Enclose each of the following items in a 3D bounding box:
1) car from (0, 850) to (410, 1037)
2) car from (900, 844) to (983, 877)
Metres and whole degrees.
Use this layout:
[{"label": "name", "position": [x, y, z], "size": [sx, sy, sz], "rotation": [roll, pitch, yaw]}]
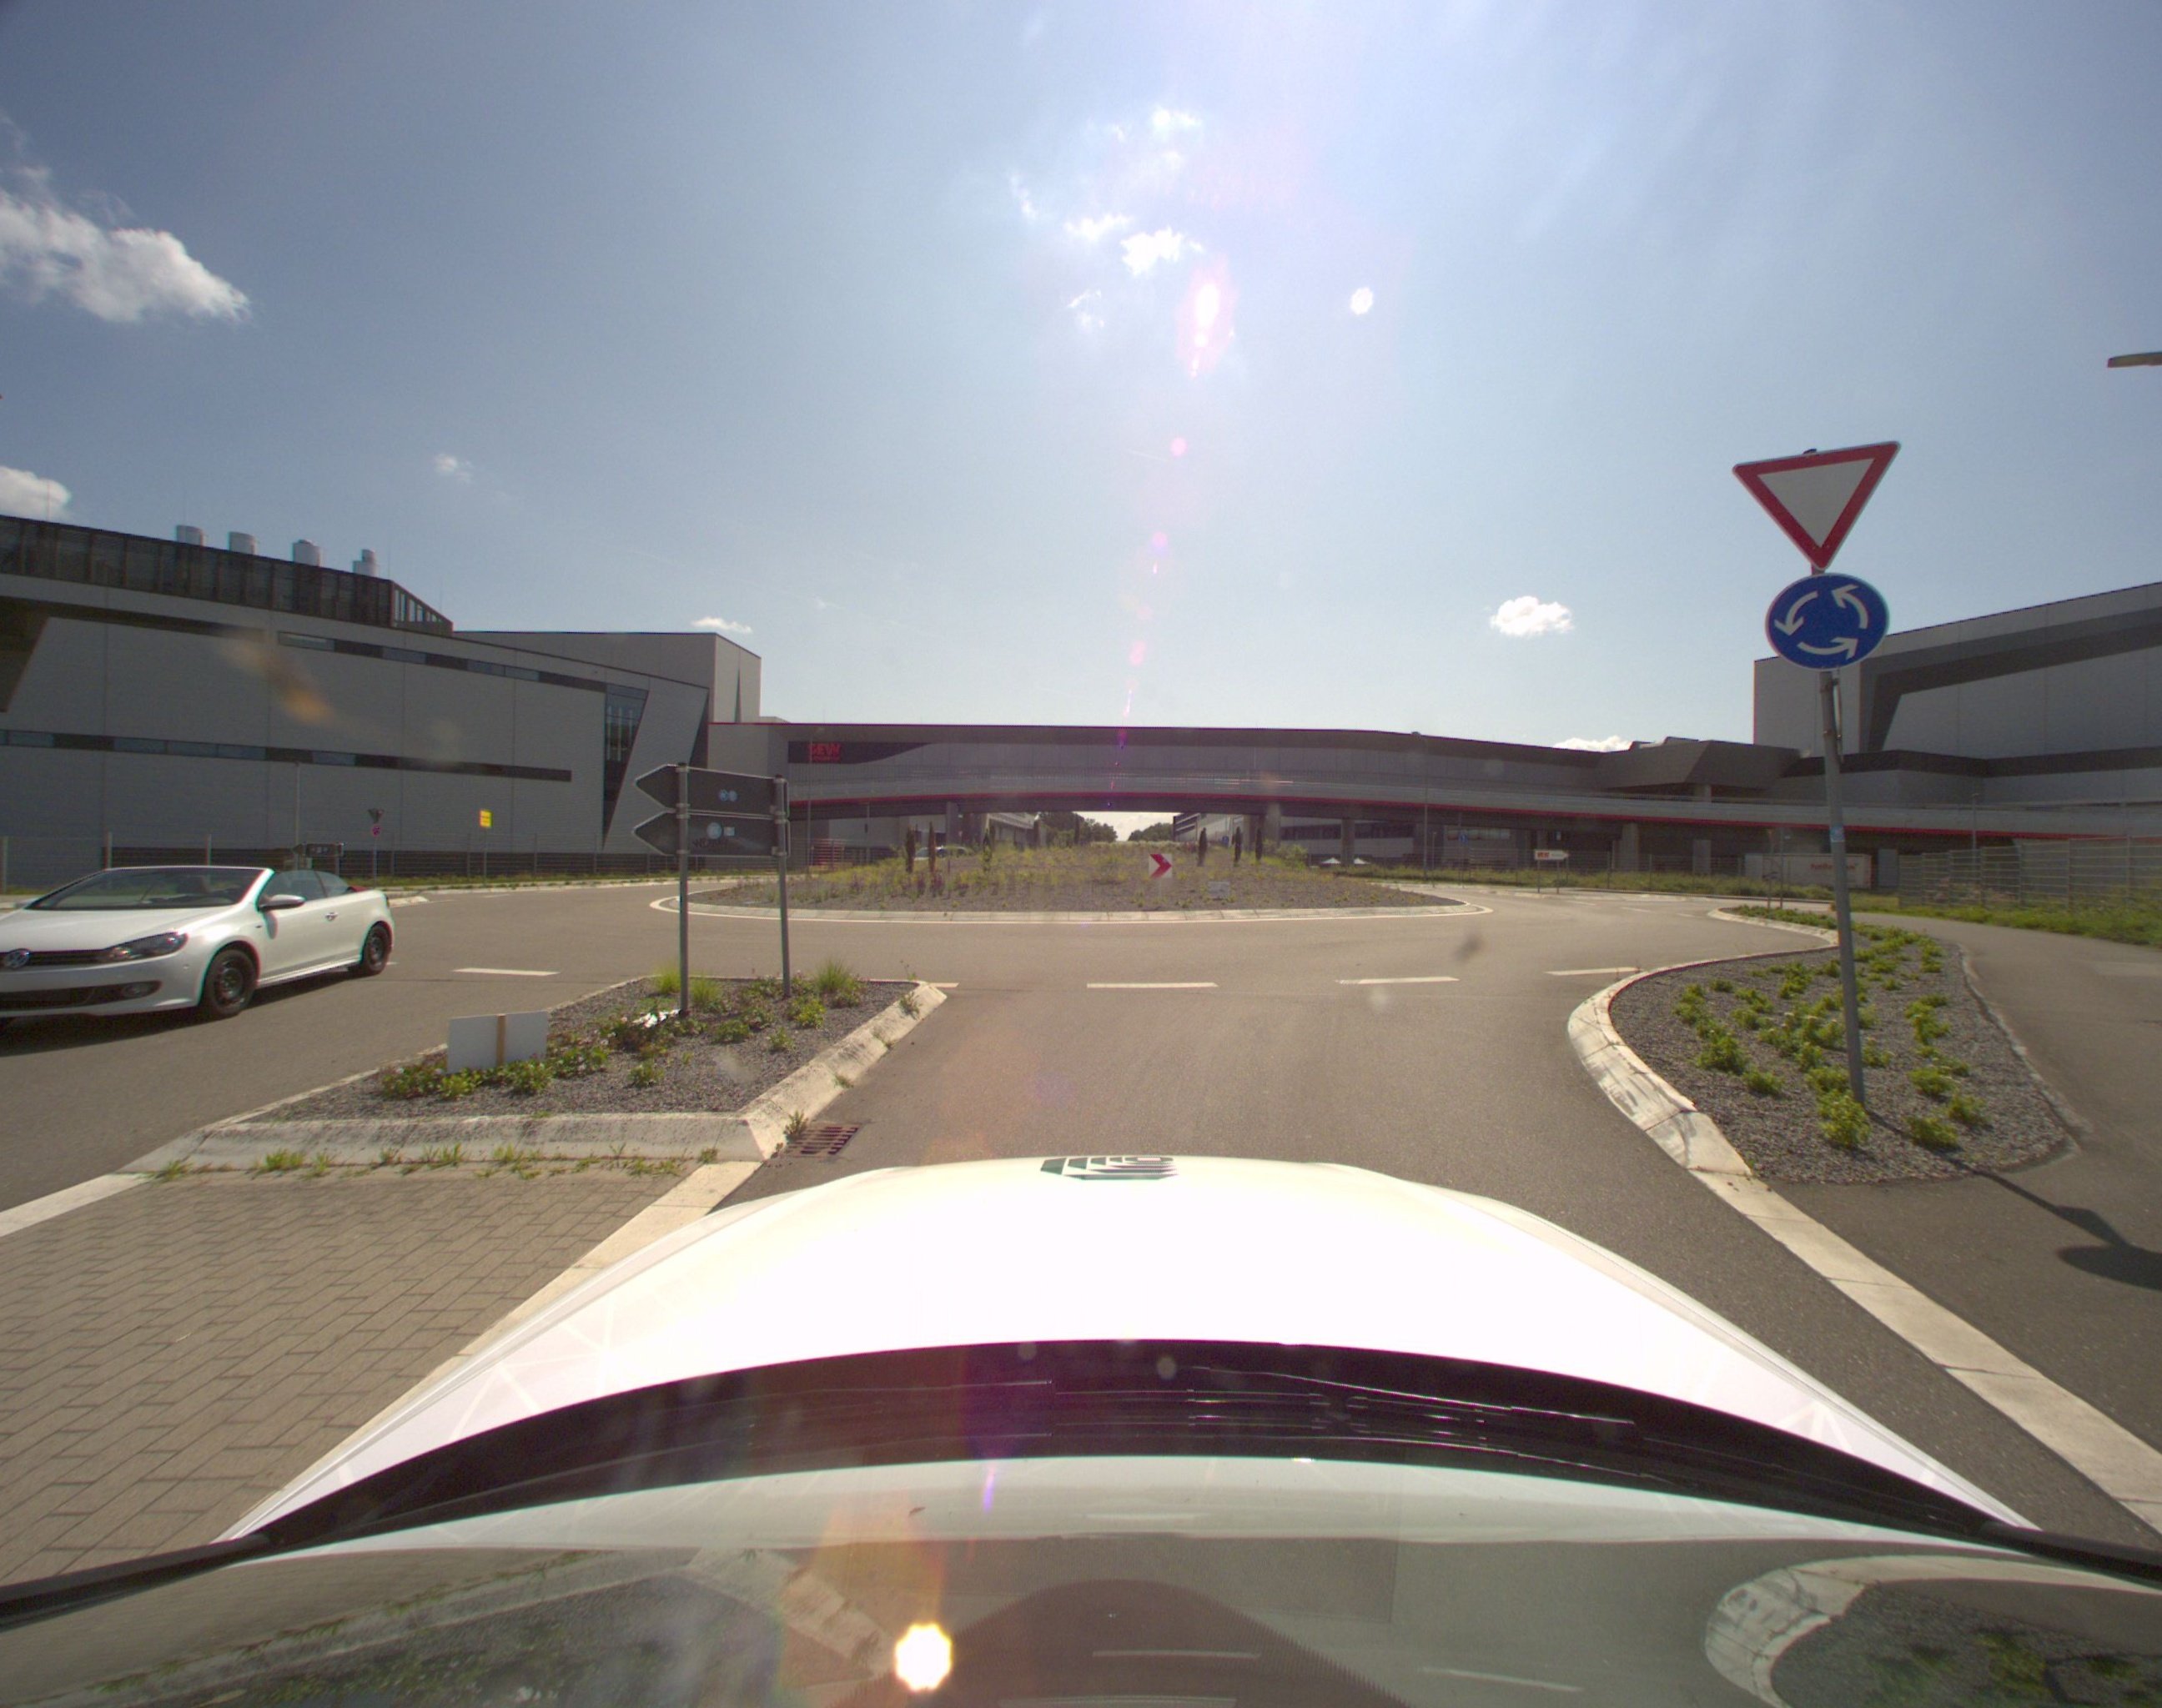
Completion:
[{"label": "car", "position": [-8.771, 0.705, 8.206], "size": [1.775, 1.428, 4.026], "rotation": [0, -1, -19]}, {"label": "car", "position": [-7.722, 0.343, 45.428], "size": [1.974, 1.779, 4.589], "rotation": [0, 0, 32]}]
